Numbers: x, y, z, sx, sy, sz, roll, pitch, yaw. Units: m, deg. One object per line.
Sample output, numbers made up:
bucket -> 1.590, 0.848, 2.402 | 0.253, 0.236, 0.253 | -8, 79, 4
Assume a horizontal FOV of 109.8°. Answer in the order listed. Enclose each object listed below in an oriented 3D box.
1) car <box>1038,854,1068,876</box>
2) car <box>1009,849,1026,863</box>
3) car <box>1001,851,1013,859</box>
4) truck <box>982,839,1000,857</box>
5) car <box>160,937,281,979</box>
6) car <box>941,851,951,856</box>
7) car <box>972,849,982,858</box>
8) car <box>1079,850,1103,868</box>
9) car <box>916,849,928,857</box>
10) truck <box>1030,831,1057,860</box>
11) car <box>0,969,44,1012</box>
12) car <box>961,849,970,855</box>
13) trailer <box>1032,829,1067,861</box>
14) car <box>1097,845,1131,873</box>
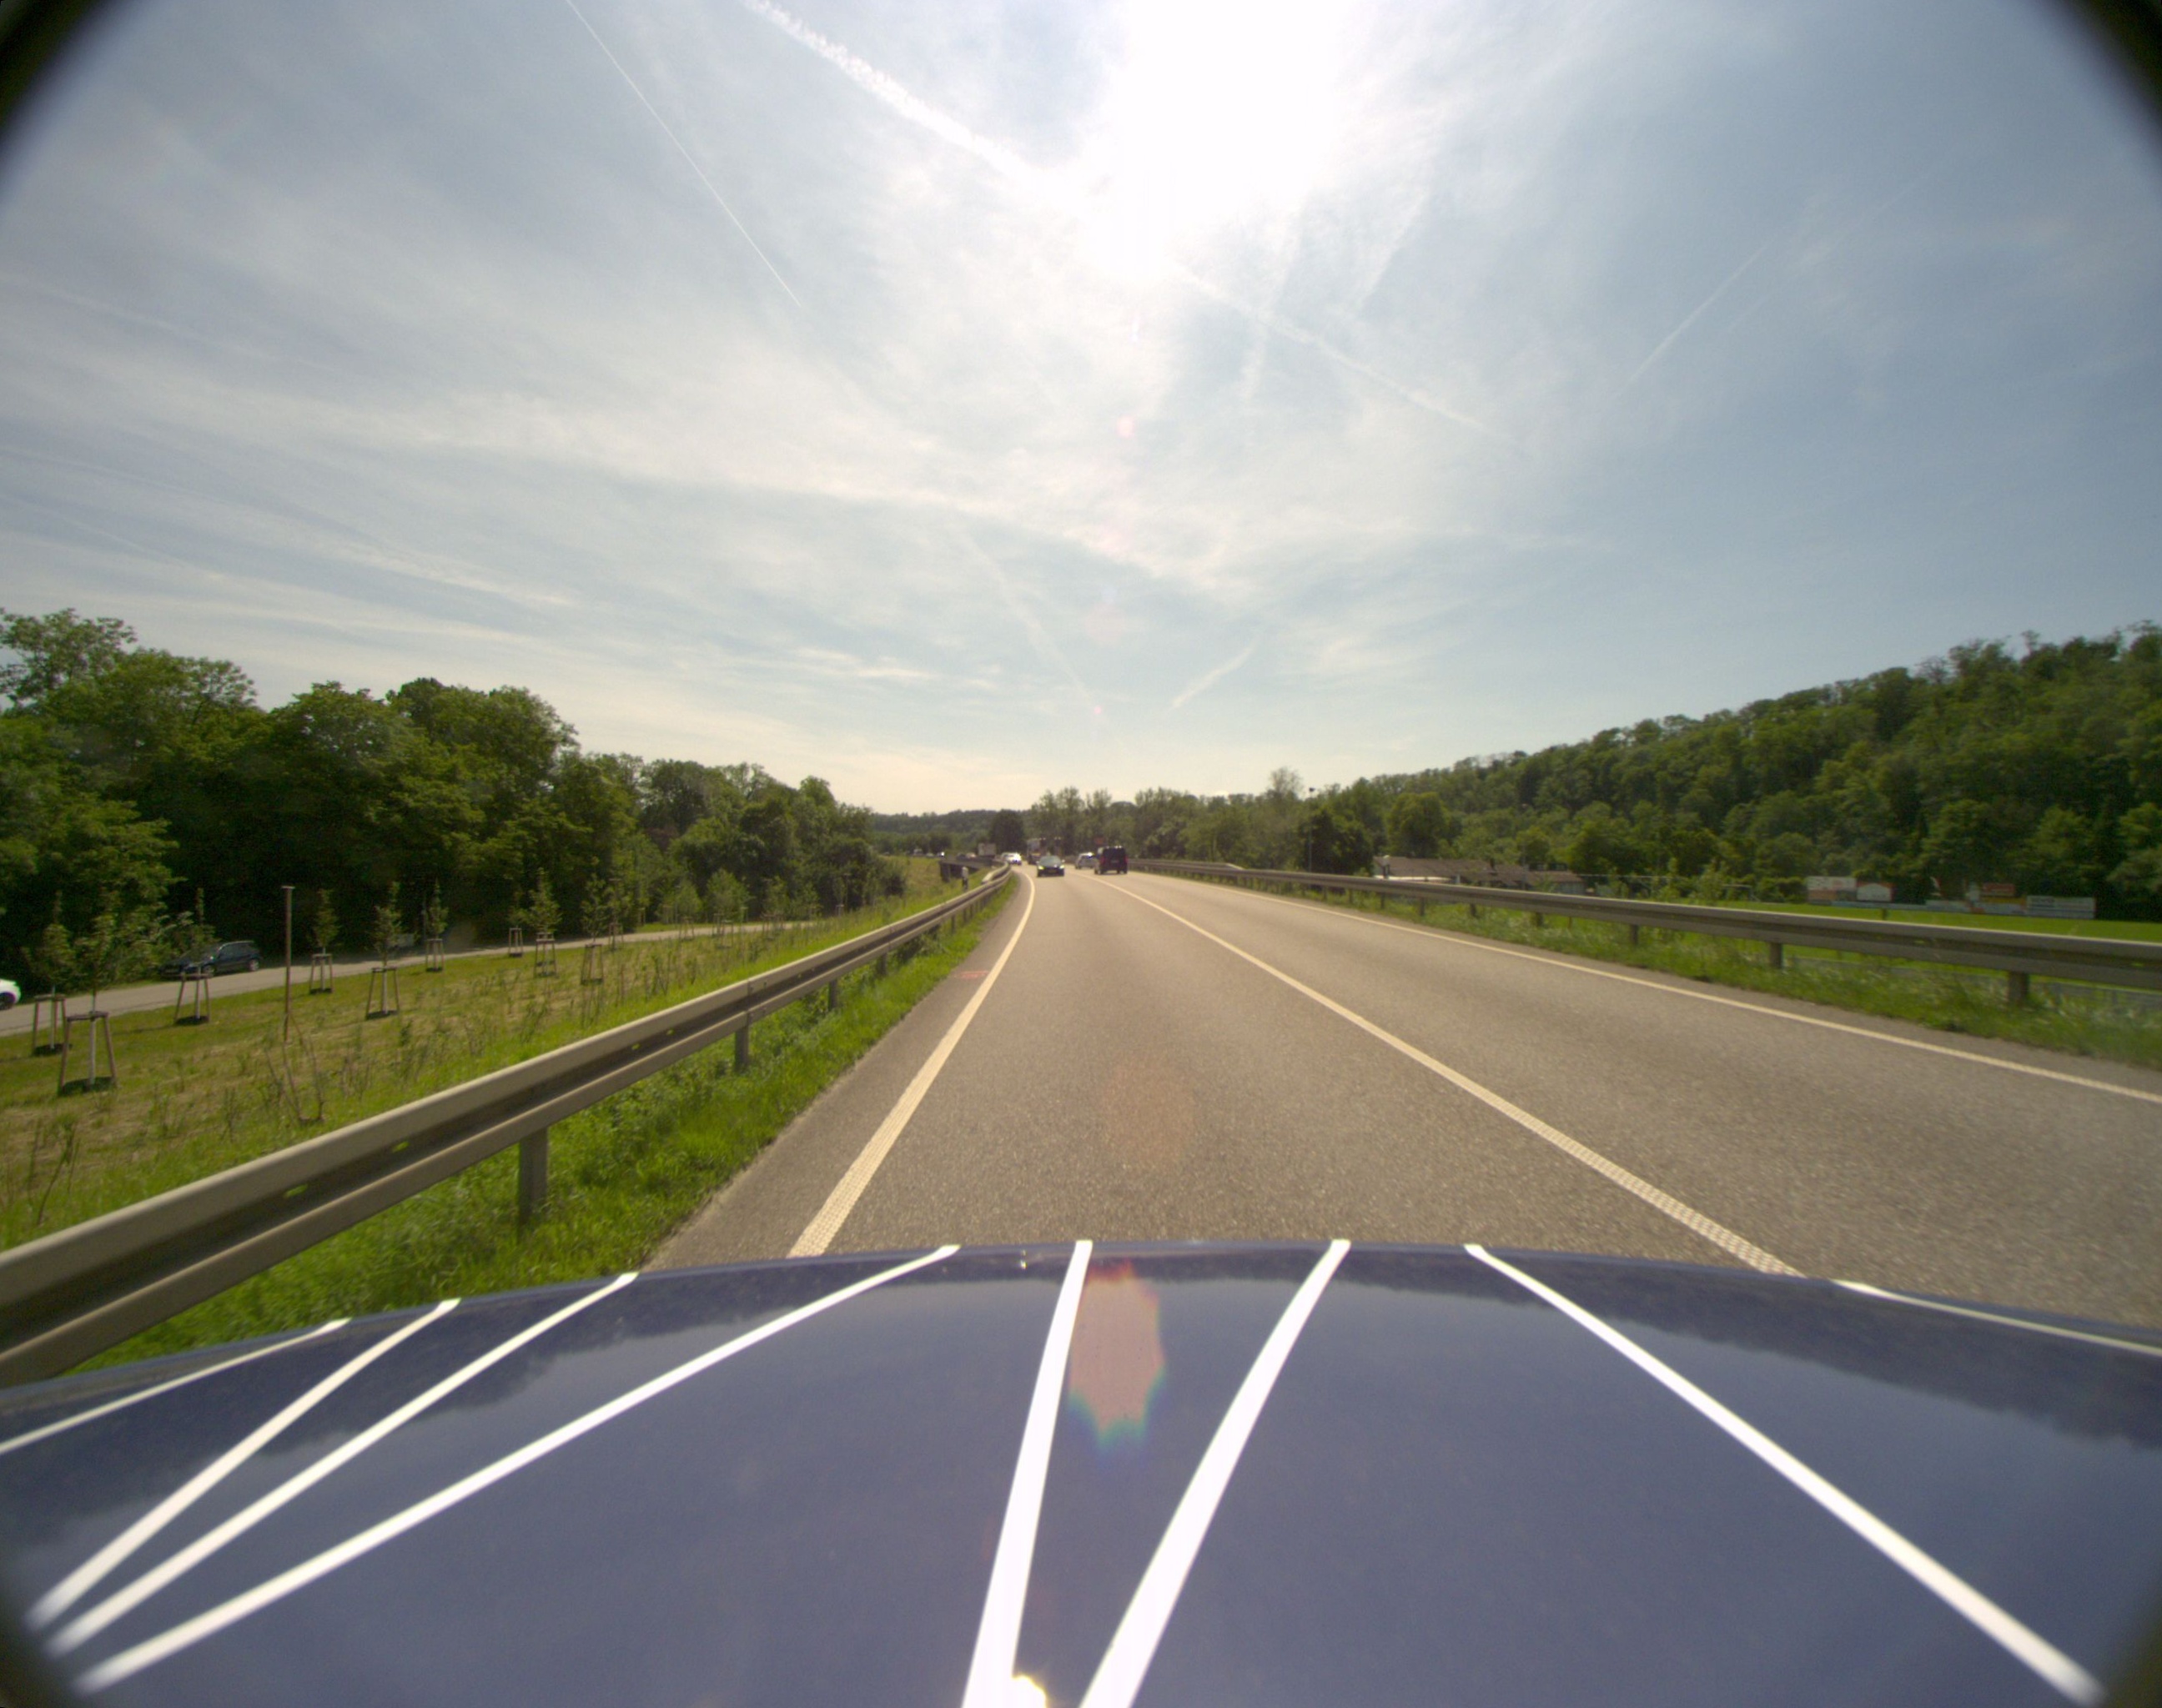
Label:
car -> -1.989, 0.735, 53.093 | 1.981, 1.333, 3.998 | -2, 1, -4
car -> -8.669, 0.267, 103.701 | 1.981, 1.779, 3.996 | -2, 2, -8
car -> -14.357, 0.171, 147.009 | 1.764, 1.503, 3.994 | -2, 2, -12
truck -> -20.139, -1.214, 169.130 | 2.925, 3.781, 9.697 | -2, 0, -13
car -> -44.739, 5.388, 39.659 | 1.864, 1.672, 4.197 | 2, -1, -8
car -> -40.513, -0.272, 227.851 | 1.728, 1.427, 4.608 | -2, 1, -22
car -> -22.302, -0.128, 162.919 | 1.982, 1.722, 3.995 | -2, 1, -11
car -> 0.870, 0.448, 70.132 | 1.773, 1.485, 4.168 | -2, 1, -5
car -> -53.791, -0.268, 257.313 | 2.189, 2.545, 5.782 | -3, 2, -29
truck -> -5.441, -1.189, 109.293 | 3.128, 3.935, 6.616 | -2, 1, -8
car -> -42.817, 5.381, 28.538 | 1.864, 1.474, 4.604 | 2, -1, -11
car -> -31.037, -0.487, 204.737 | 1.727, 1.474, 4.562 | -2, 1, -16
trailer -> -4.406, -1.147, 102.282 | 3.128, 3.957, 15.343 | -2, 1, -8
car -> 2.300, 0.309, 54.040 | 1.927, 1.849, 5.174 | -2, 0, -2
